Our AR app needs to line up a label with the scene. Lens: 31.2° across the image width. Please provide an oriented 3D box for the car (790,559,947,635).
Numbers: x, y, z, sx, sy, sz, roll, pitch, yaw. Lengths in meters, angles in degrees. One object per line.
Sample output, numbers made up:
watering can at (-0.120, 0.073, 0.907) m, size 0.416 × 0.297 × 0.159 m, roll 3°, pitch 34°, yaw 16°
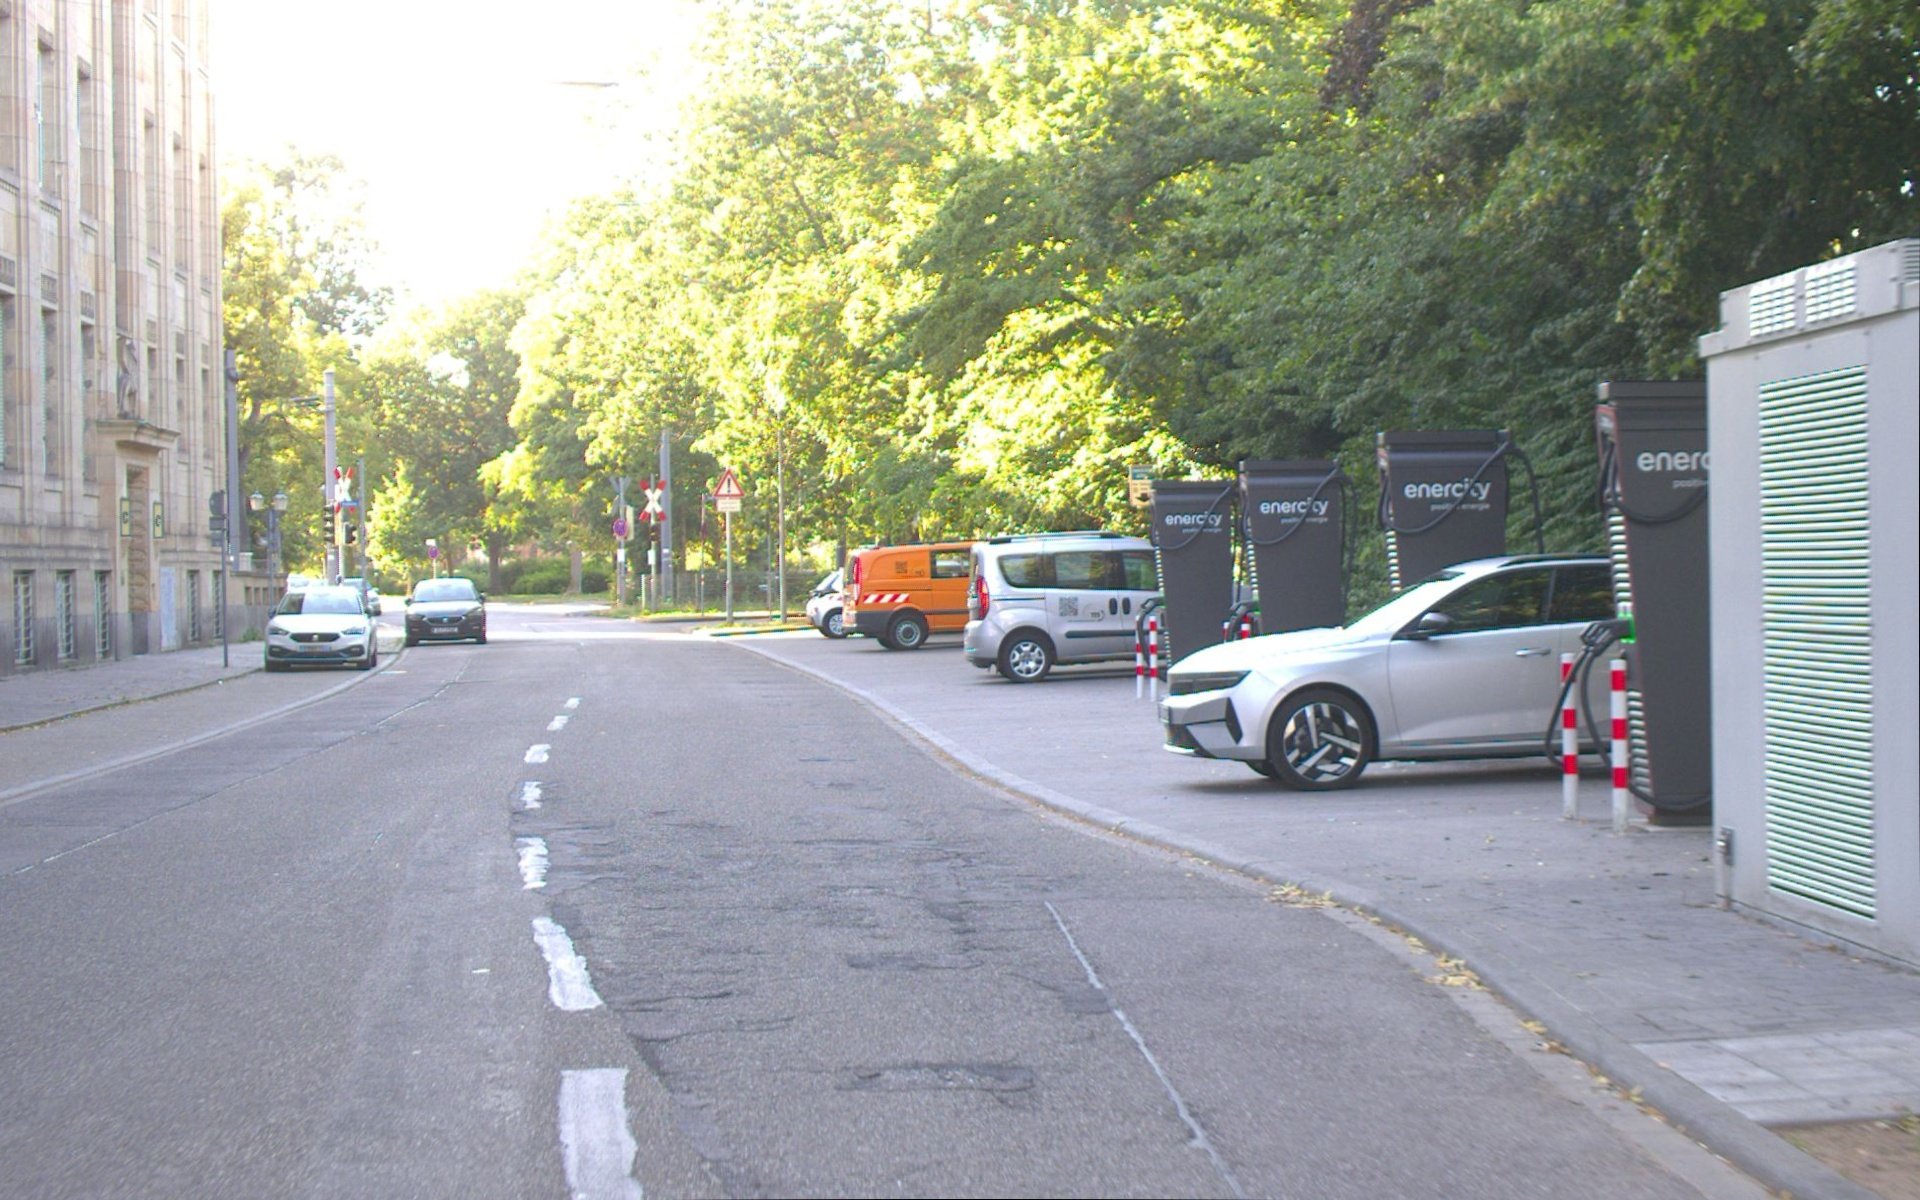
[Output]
car at (-1.998, -0.073, 74.549) m, size 3.143 × 1.498 × 1.541 m, roll -3°, pitch 1°, yaw -11°

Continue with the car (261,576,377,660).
car at (-11.188, 0.294, 60.181) m, size 1.727 × 1.392 × 4.374 m, roll -1°, pitch 1°, yaw -7°

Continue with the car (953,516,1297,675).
car at (2.111, -0.063, 44.883) m, size 4.228 × 1.853 × 2.000 m, roll -2°, pitch 0°, yaw -3°

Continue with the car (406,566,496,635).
car at (-11.413, -0.010, 77.284) m, size 1.878 × 1.461 × 4.374 m, roll -1°, pitch 1°, yaw -7°

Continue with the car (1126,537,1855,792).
car at (3.444, 0.395, 22.799) m, size 4.440 × 1.464 × 1.783 m, roll -2°, pitch 1°, yaw -5°

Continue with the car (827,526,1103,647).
car at (0.079, -0.261, 64.190) m, size 4.817 × 2.007 × 1.802 m, roll -3°, pitch 1°, yaw -11°
